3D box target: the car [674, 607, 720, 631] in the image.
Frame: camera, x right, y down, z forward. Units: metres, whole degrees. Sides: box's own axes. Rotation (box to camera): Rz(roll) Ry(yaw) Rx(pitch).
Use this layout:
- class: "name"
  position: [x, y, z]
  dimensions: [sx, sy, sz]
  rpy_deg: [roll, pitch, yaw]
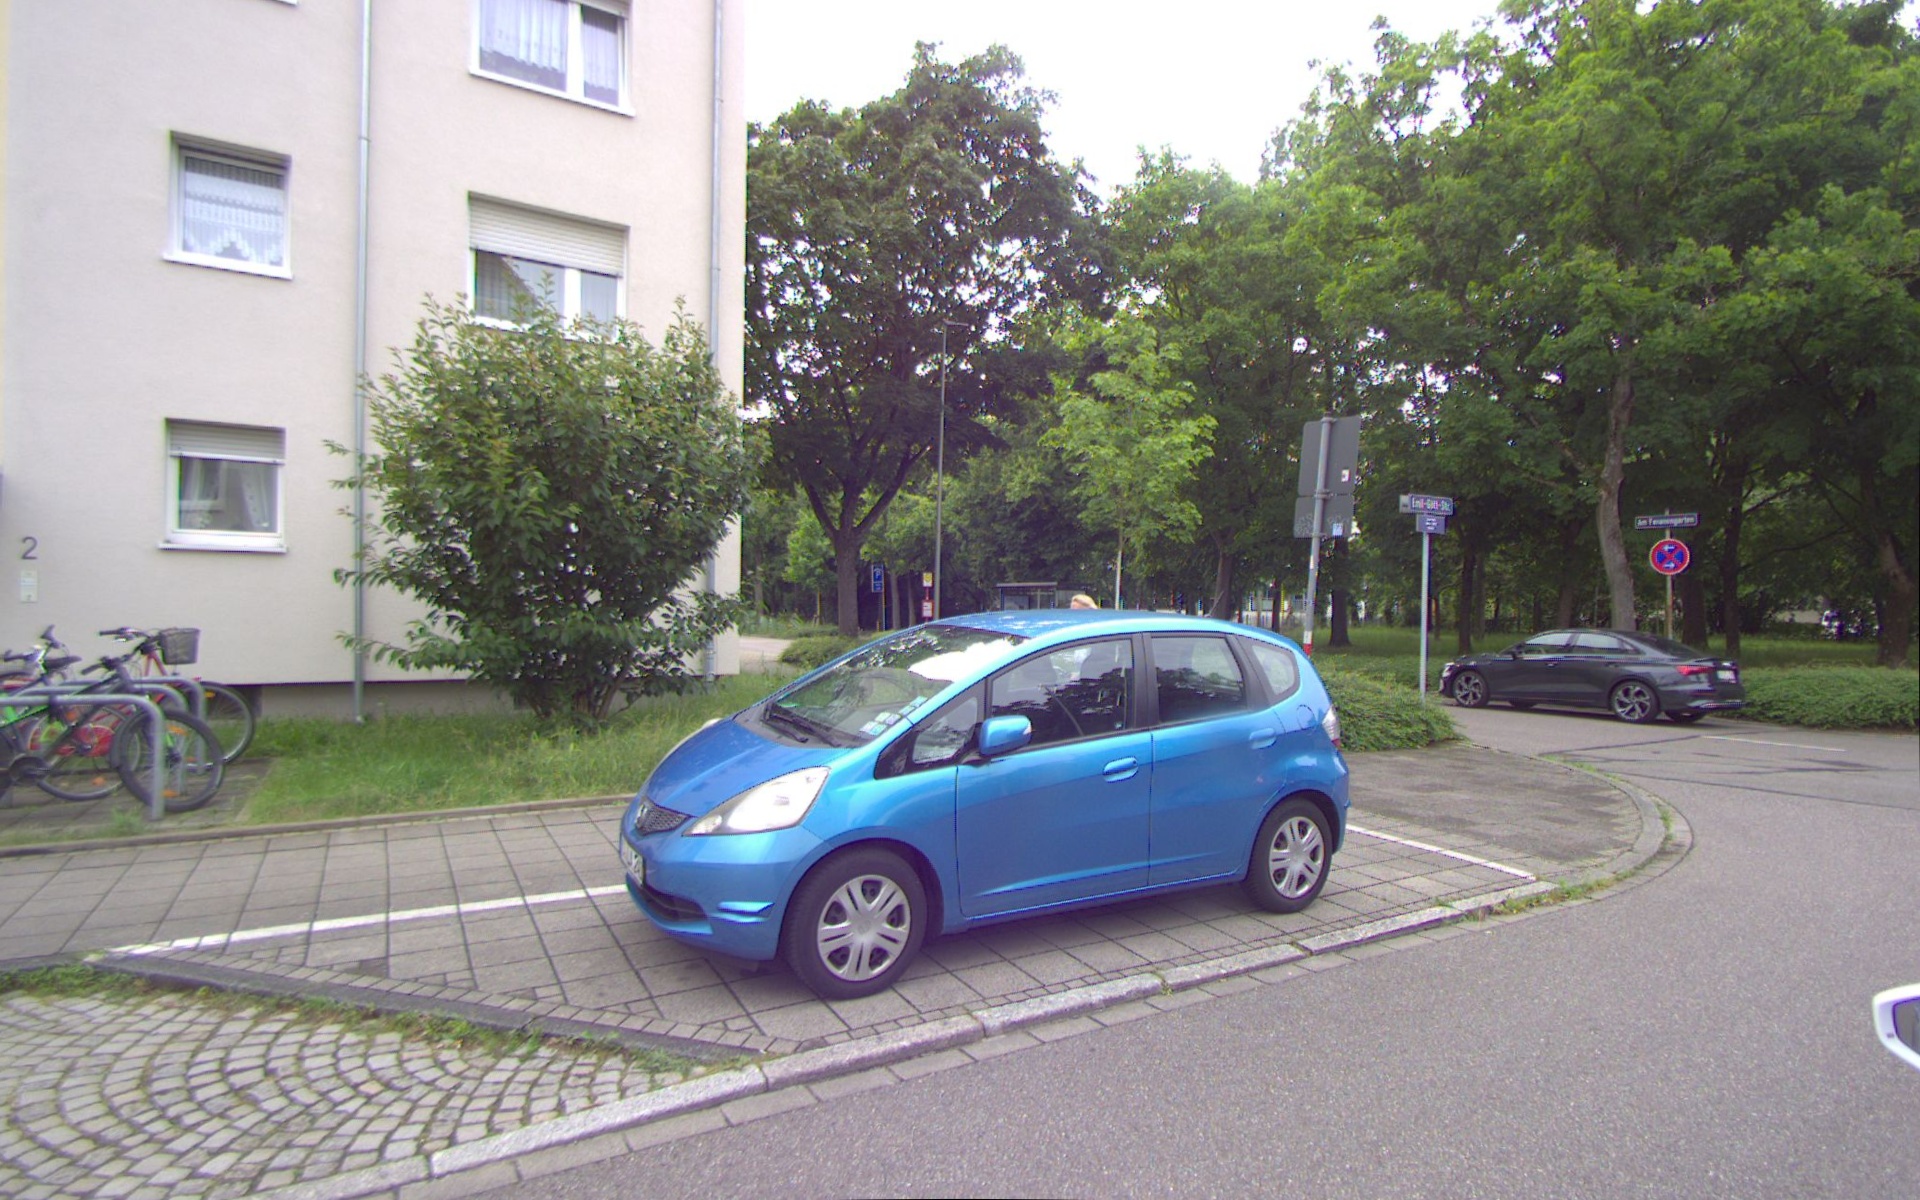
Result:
- class: "car"
  position: [-17.288, 1.243, 65.884]
  dimensions: [1.883, 1.506, 3.967]
  rpy_deg: [1, -1, -31]

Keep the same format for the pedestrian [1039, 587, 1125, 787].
- class: "pedestrian"
  position: [0.988, 0.691, 8.196]
  dimensions: [0.557, 1.571, 0.447]
  rpy_deg: [1, 3, -10]

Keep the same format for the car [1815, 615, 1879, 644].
- class: "car"
  position: [51.942, 1.709, 58.802]
  dimensions: [3.959, 1.639, 1.905]
  rpy_deg: [1, -1, -34]

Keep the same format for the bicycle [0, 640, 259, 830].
- class: "bicycle"
  position: [-5.680, 0.812, 6.246]
  dimensions: [2.097, 1.082, 0.654]
  rpy_deg: [1, 0, -30]

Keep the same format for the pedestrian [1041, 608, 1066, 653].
- class: "pedestrian"
  position: [3.385, 1.089, 36.303]
  dimensions: [0.648, 1.604, 0.693]
  rpy_deg: [0, 0, -29]

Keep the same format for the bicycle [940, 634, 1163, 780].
- class: "bicycle"
  position: [0.756, 0.896, 8.528]
  dimensions: [1.784, 1.134, 0.537]
  rpy_deg: [2, 1, -6]

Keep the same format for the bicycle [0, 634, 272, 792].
- class: "bicycle"
  position: [-6.528, 0.812, 7.574]
  dimensions: [2.149, 1.085, 0.654]
  rpy_deg: [1, 0, -30]

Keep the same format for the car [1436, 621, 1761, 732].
- class: "car"
  position: [10.154, 1.114, 16.298]
  dimensions: [1.849, 1.482, 4.081]
  rpy_deg: [1, 0, -32]

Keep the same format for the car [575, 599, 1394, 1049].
- class: "car"
  position: [0.230, 0.799, 5.189]
  dimensions: [3.911, 1.482, 1.721]
  rpy_deg: [1, 2, -31]

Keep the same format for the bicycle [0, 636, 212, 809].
- class: "bicycle"
  position: [-6.385, 0.802, 6.708]
  dimensions: [2.149, 1.085, 0.654]
  rpy_deg: [1, 0, -30]
